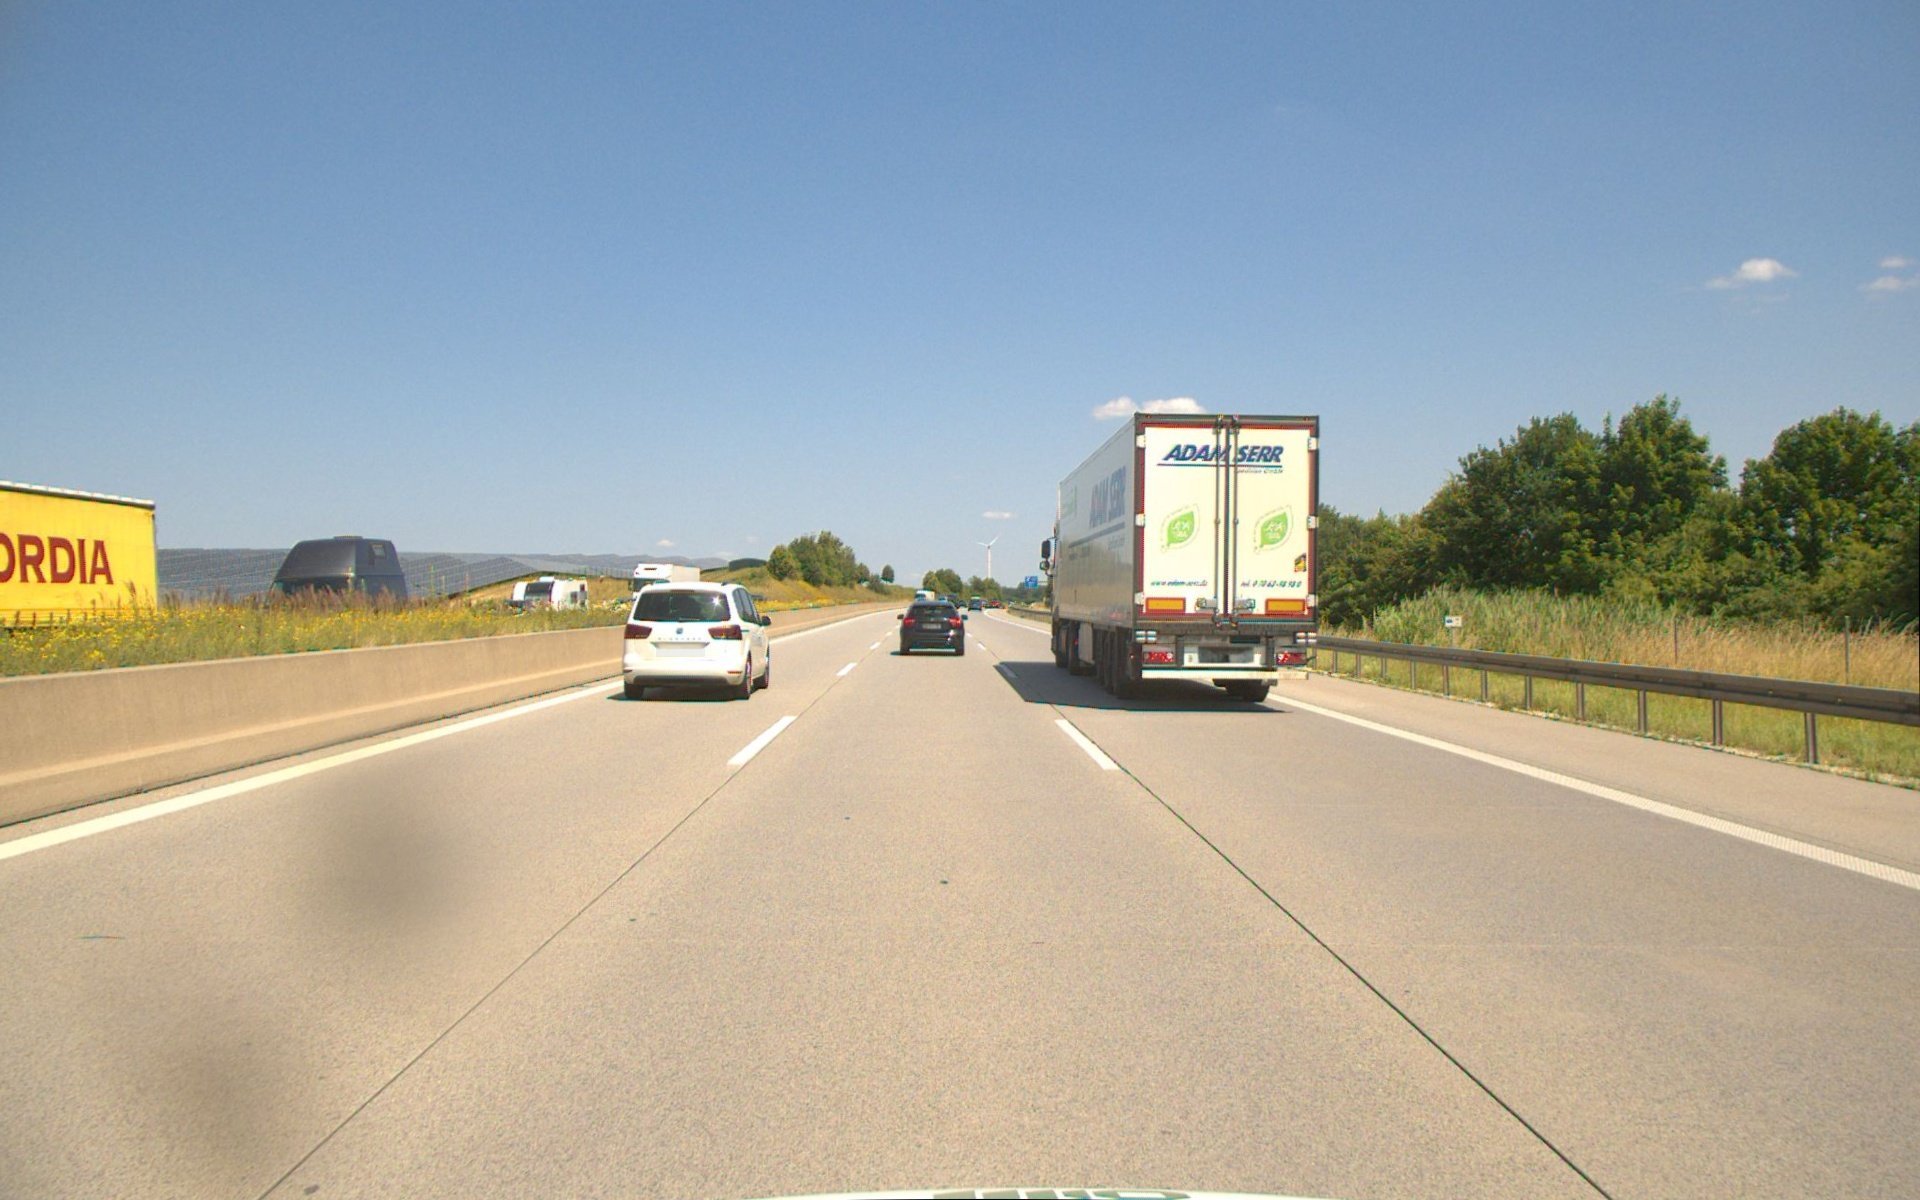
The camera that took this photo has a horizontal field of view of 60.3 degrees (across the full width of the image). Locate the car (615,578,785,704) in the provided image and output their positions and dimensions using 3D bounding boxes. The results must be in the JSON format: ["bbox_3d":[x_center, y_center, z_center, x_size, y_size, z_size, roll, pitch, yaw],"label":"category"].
[{"bbox_3d":[-3.962,0.600,26.229,1.808,1.738,6.034,1,0,-1],"label":"car"}]

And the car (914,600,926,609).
[{"bbox_3d":[-5.640,0.632,234.931,1.622,1.217,3.959,4,0,-1],"label":"car"}]

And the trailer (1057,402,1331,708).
[{"bbox_3d":[3.561,-0.607,28.881,2.794,4.113,12.711,1,0,-1],"label":"trailer"}]

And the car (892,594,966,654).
[{"bbox_3d":[-0.889,0.628,45.469,1.872,1.518,4.189,2,0,-3],"label":"car"}]

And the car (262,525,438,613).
[{"bbox_3d":[-13.371,-0.619,36.665,1.953,1.758,5.388,1,0,-1],"label":"car"}]

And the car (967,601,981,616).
[{"bbox_3d":[1.818,1.110,217.596,1.789,1.940,4.000,1,0,1],"label":"car"}]

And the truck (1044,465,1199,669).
[{"bbox_3d":[3.473,-0.669,36.975,2.755,4.159,5.797,1,0,-1],"label":"truck"}]

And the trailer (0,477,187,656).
[{"bbox_3d":[-20.872,-0.693,34.637,2.872,3.613,14.017,1,0,-1],"label":"trailer"}]

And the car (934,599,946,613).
[{"bbox_3d":[-2.929,0.883,242.936,1.790,1.971,3.808,1,0,-1],"label":"car"}]

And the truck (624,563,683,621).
[{"bbox_3d":[-22.404,-0.531,121.178,3.028,4.074,7.252,1,-1,-1],"label":"truck"}]

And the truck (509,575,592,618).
[{"bbox_3d":[-20.882,-0.120,84.722,2.466,2.049,7.628,1,0,-1],"label":"truck"}]
